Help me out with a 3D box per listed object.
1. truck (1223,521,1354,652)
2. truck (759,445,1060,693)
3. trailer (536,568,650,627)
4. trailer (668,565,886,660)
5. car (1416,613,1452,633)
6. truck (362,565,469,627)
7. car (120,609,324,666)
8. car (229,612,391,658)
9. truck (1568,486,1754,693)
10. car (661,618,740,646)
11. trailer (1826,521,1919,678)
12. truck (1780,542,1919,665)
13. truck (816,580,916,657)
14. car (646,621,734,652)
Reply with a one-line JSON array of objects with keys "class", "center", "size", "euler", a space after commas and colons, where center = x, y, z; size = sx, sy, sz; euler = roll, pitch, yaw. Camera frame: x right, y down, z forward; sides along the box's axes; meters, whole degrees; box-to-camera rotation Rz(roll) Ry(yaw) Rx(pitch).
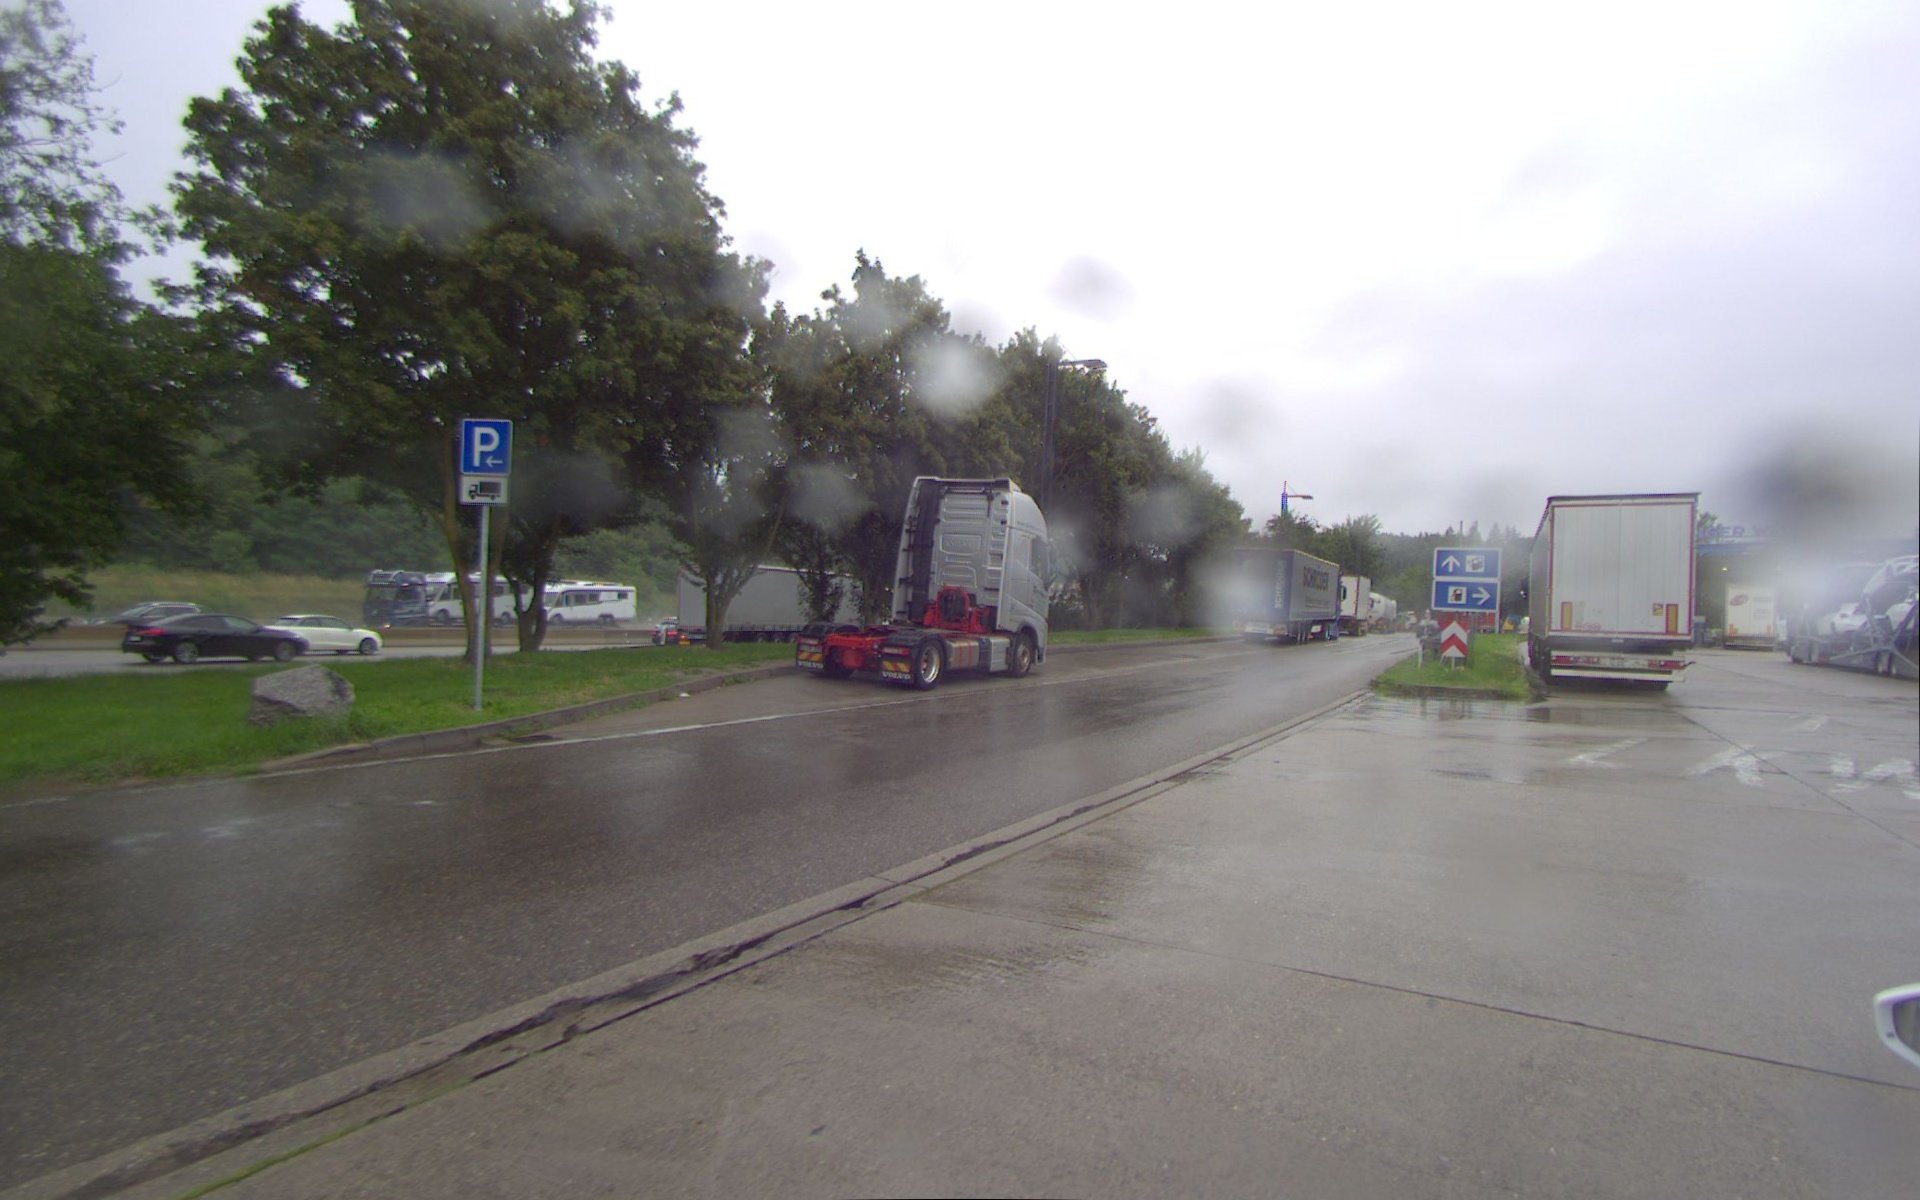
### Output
[{"class": "truck", "center": [15.802, -0.529, 47.440], "size": [4.715, 5.376, 11.063], "euler": [2, 0, 24]}, {"class": "truck", "center": [-0.683, -0.476, 19.527], "size": [2.872, 3.956, 6.306], "euler": [2, 0, 29]}, {"class": "trailer", "center": [-25.562, -0.113, 70.512], "size": [2.195, 3.702, 8.533], "euler": [5, 1, 22]}, {"class": "trailer", "center": [-8.460, 0.838, 49.938], "size": [2.850, 4.034, 14.107], "euler": [0, -2, 26]}, {"class": "car", "center": [37.700, 1.830, 79.823], "size": [1.854, 1.481, 3.987], "euler": [3, 0, 35]}, {"class": "truck", "center": [-30.950, -0.184, 57.268], "size": [2.204, 3.200, 4.932], "euler": [5, 1, 22]}, {"class": "car", "center": [-21.777, 1.136, 29.862], "size": [1.851, 1.500, 4.499], "euler": [1, -2, 26]}, {"class": "car", "center": [-23.137, 1.287, 35.946], "size": [1.852, 1.500, 4.496], "euler": [1, -2, 29]}, {"class": "truck", "center": [16.941, -0.138, 25.072], "size": [2.335, 3.926, 12.435], "euler": [1, 0, 28]}, {"class": "car", "center": [-15.423, 1.901, 59.885], "size": [1.964, 1.560, 4.521], "euler": [1, -2, 29]}, {"class": "trailer", "center": [29.668, 0.080, 30.330], "size": [3.169, 4.245, 11.505], "euler": [3, 1, 31]}, {"class": "truck", "center": [34.741, 0.153, 38.917], "size": [3.187, 4.244, 8.426], "euler": [3, 1, 31]}, {"class": "truck", "center": [-5.185, 1.113, 56.613], "size": [2.828, 4.105, 5.928], "euler": [0, -2, 27]}, {"class": "car", "center": [-14.497, 1.984, 54.124], "size": [1.964, 1.560, 4.521], "euler": [1, -2, 29]}]
